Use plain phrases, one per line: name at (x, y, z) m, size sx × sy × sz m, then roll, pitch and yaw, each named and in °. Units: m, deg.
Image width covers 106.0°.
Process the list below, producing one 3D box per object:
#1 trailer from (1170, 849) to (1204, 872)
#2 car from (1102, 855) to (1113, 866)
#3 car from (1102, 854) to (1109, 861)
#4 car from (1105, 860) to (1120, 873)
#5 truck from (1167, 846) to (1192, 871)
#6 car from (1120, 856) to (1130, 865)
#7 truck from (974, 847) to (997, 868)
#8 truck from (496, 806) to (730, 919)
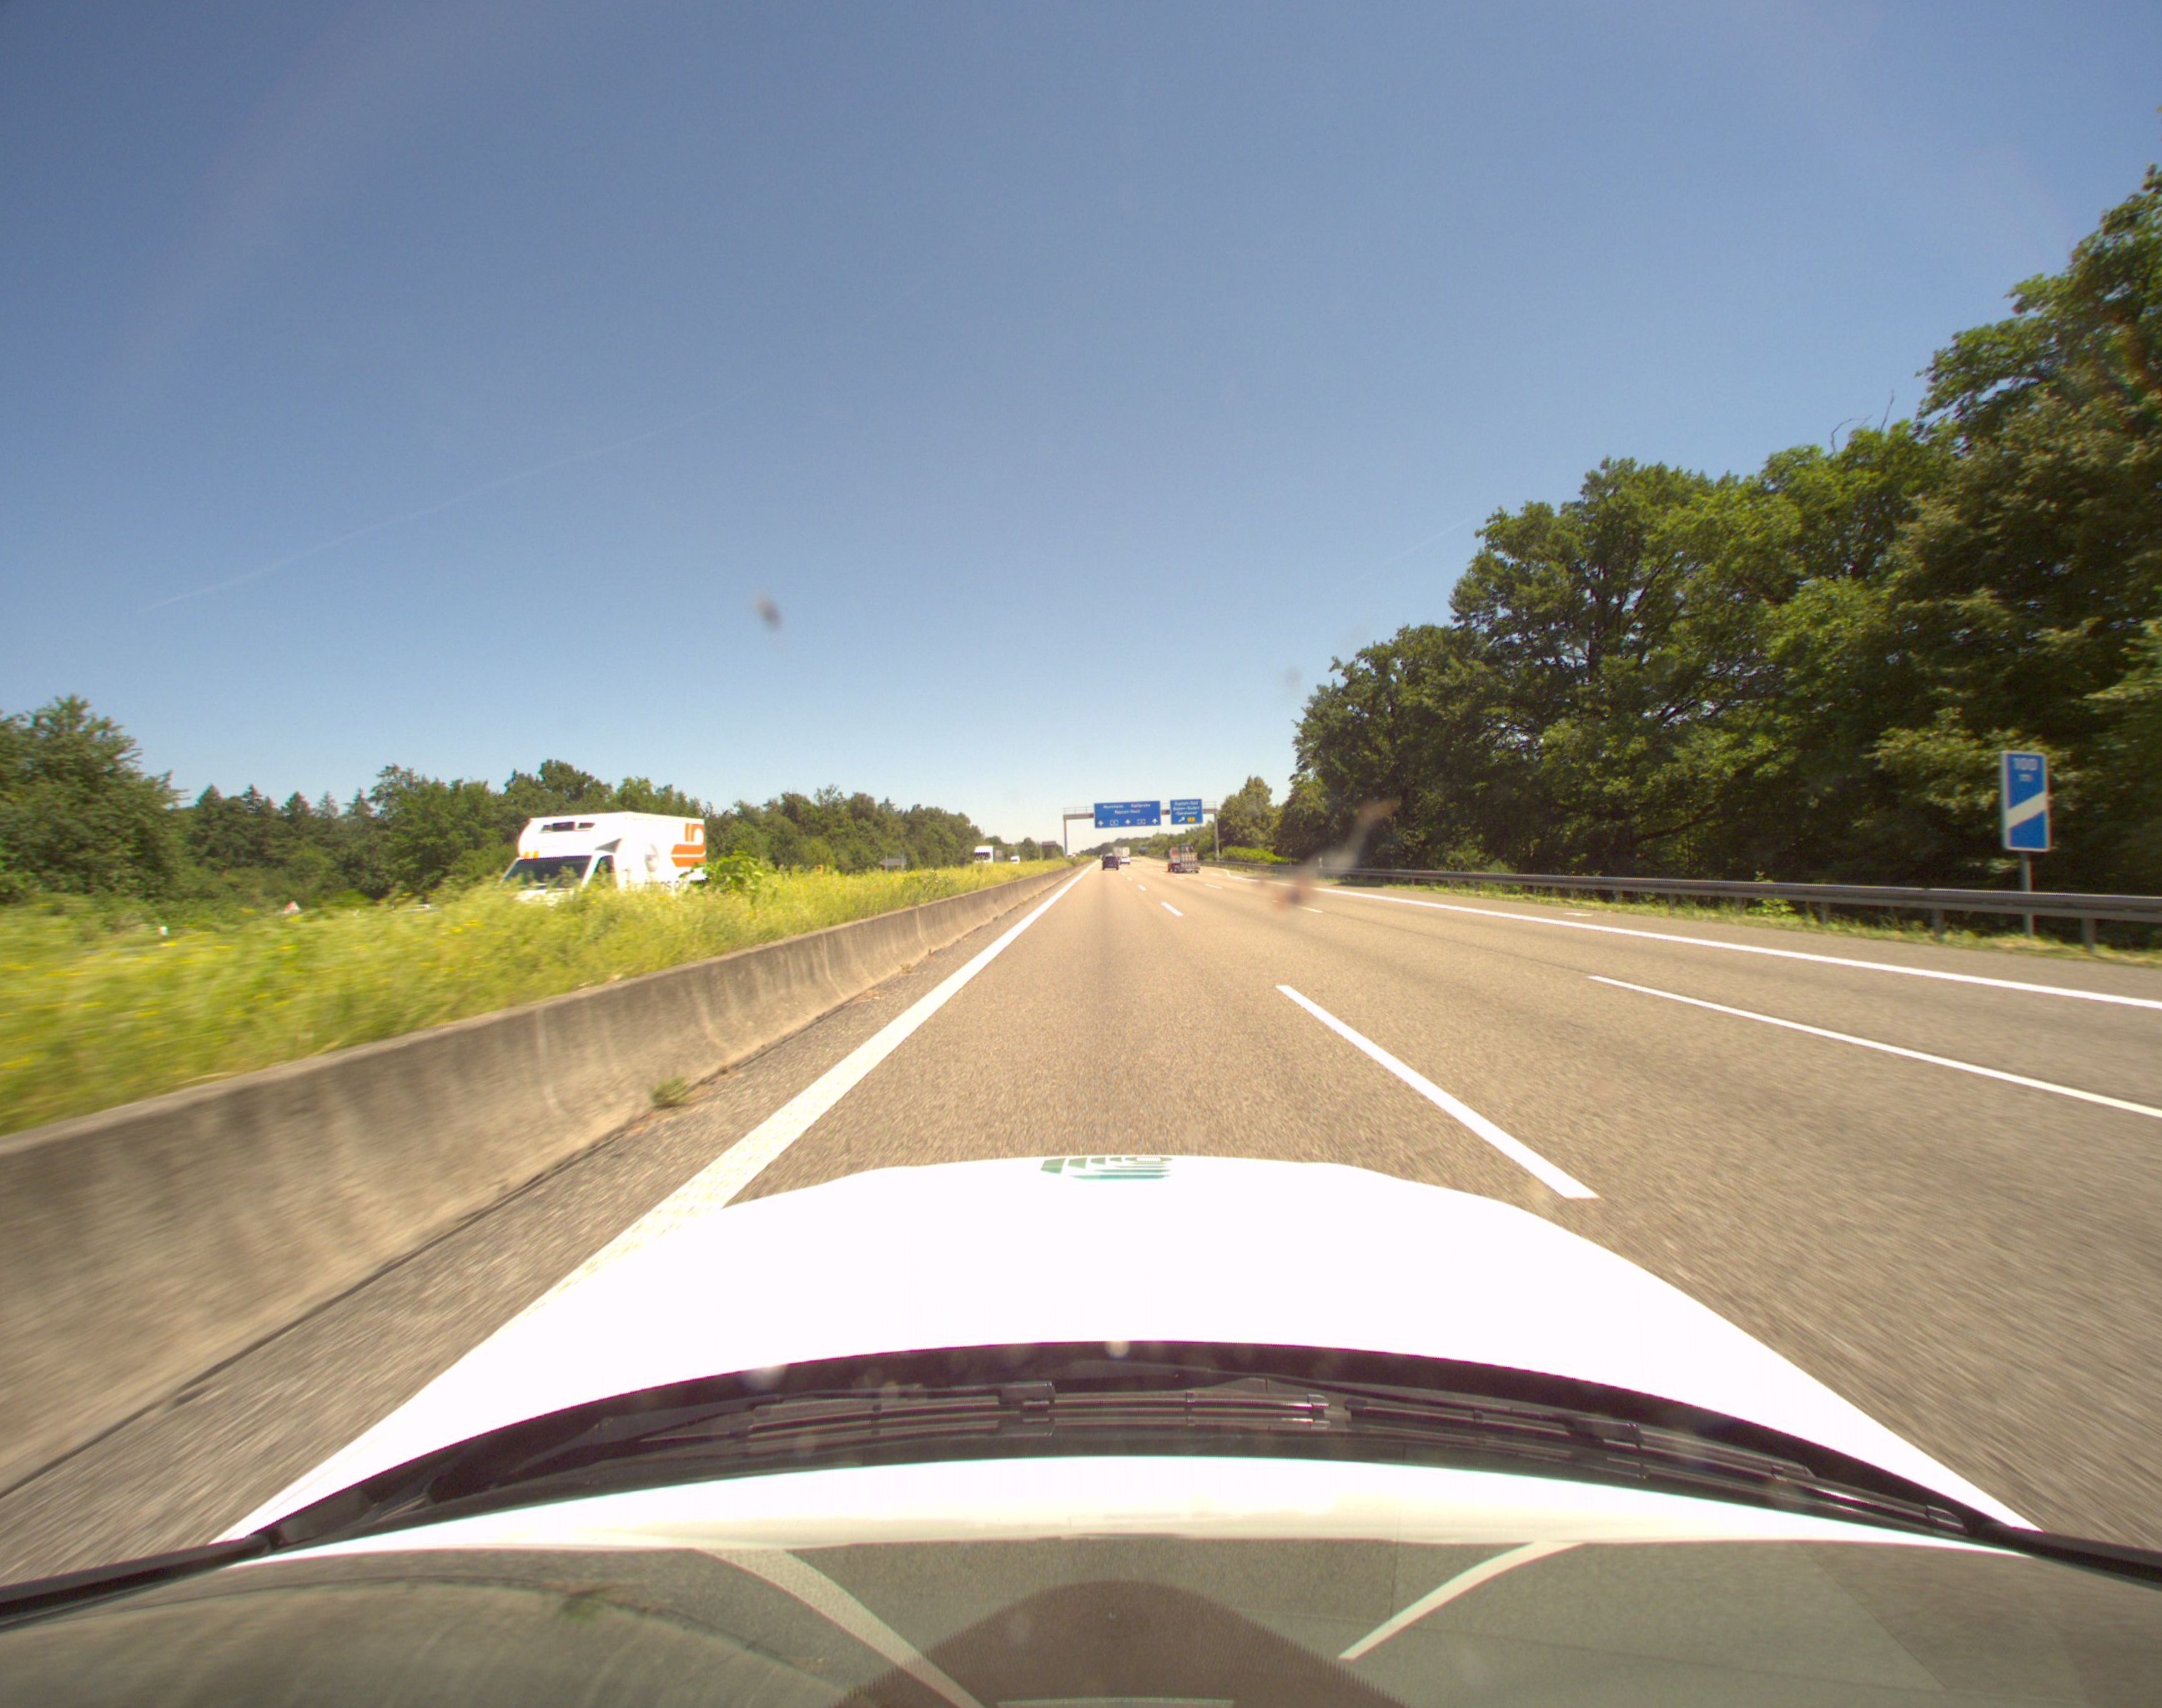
trailer at (9.883, 0.632, 76.553) m, size 2.413 × 2.013 × 6.033 m, roll -1°, pitch 0°, yaw 0°
car at (5.042, 1.299, 157.877) m, size 1.986 × 2.014 × 4.000 m, roll -3°, pitch -1°, yaw 1°
car at (7.668, 1.002, 251.853) m, size 1.987 × 2.014 × 4.000 m, roll -3°, pitch -1°, yaw 1°
car at (3.732, 1.477, 97.388) m, size 1.655 × 1.549 × 3.782 m, roll -1°, pitch -1°, yaw 0°
truck at (9.869, 0.455, 81.909) m, size 1.987 × 2.374 × 4.644 m, roll -1°, pitch 0°, yaw 0°
car at (7.875, 1.182, 146.235) m, size 1.734 × 1.486 × 4.000 m, roll -1°, pitch -1°, yaw 1°
truck at (-14.236, 0.516, 121.815) m, size 2.633 × 3.084 × 5.850 m, roll -1°, pitch 0°, yaw 1°
truck at (-11.158, 0.221, 20.180) m, size 2.304 × 2.326 × 6.077 m, roll -1°, pitch -1°, yaw -1°
